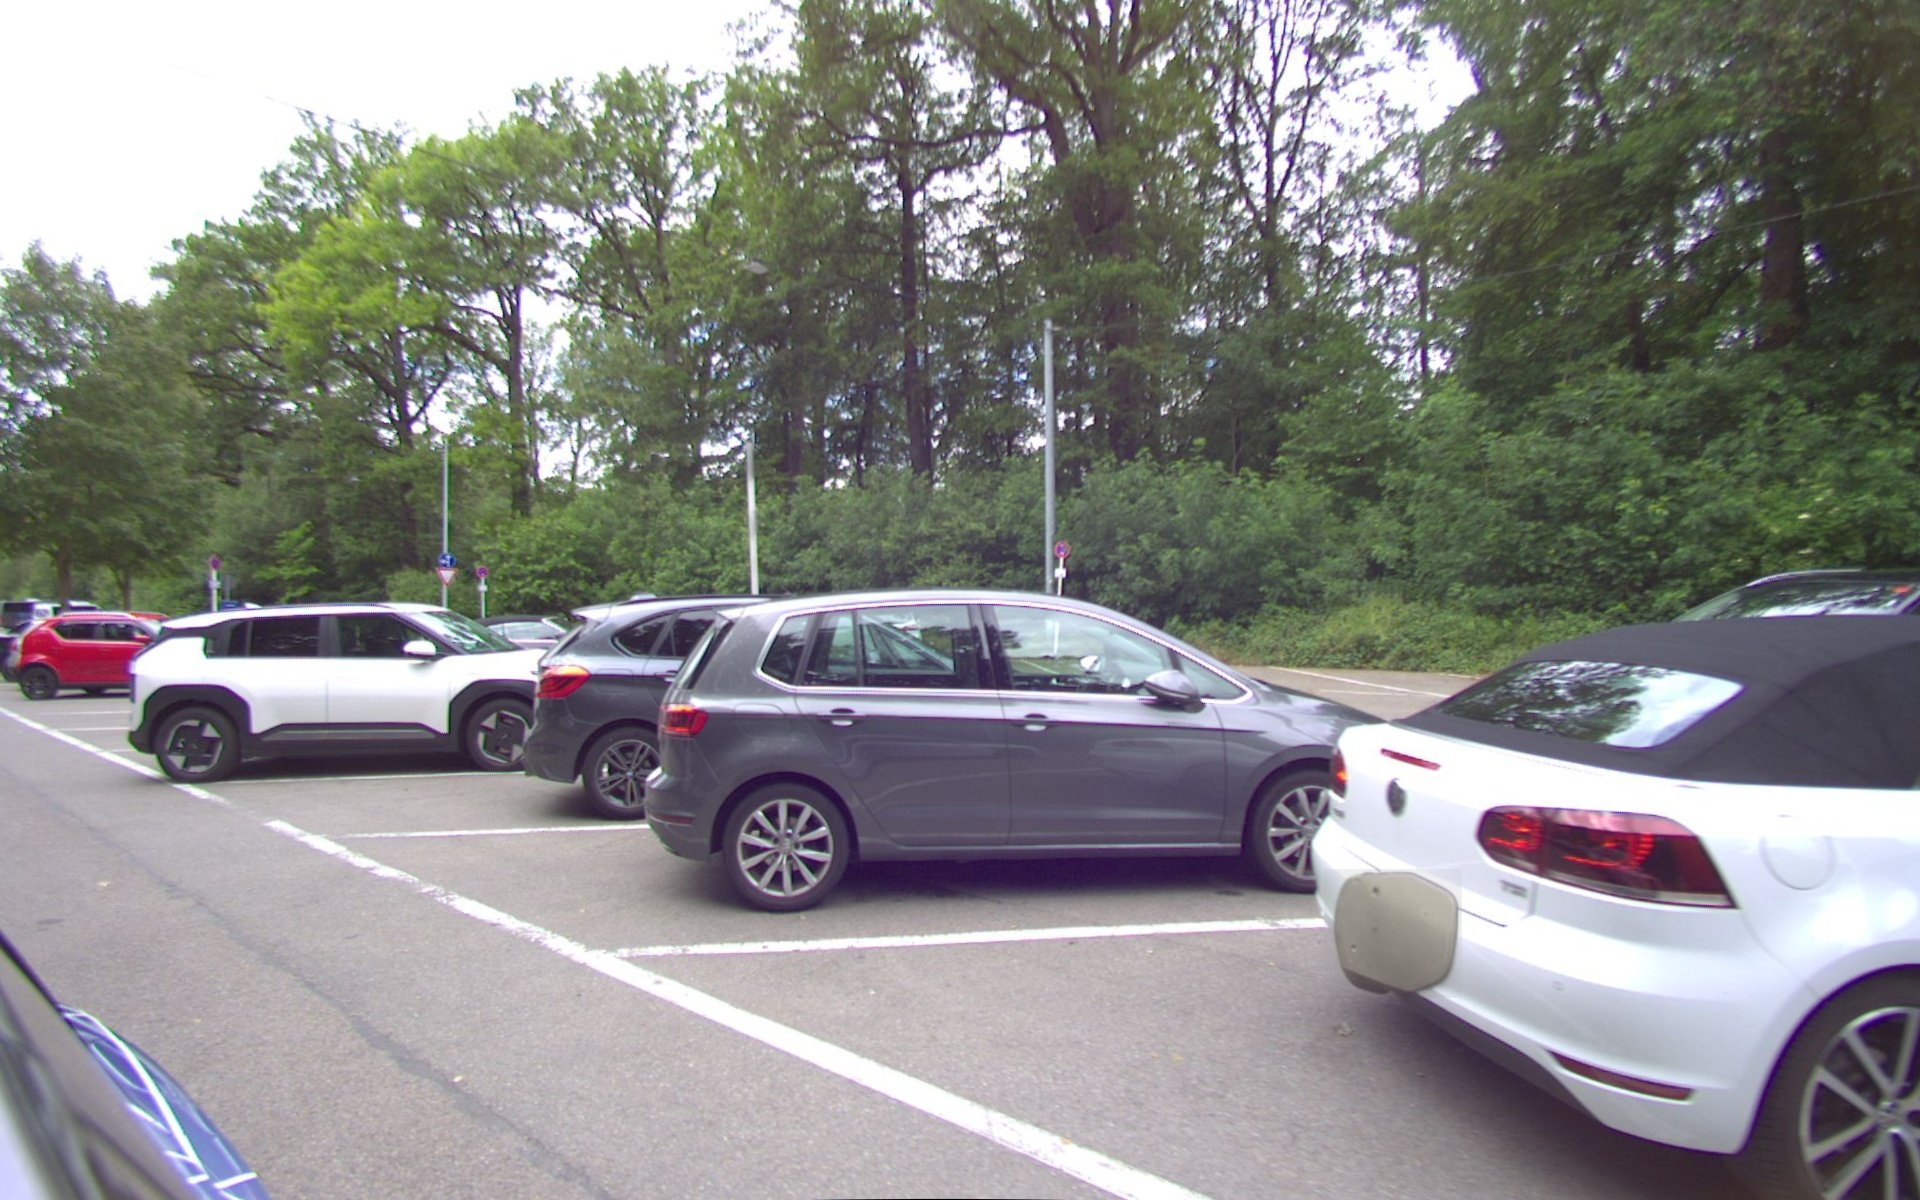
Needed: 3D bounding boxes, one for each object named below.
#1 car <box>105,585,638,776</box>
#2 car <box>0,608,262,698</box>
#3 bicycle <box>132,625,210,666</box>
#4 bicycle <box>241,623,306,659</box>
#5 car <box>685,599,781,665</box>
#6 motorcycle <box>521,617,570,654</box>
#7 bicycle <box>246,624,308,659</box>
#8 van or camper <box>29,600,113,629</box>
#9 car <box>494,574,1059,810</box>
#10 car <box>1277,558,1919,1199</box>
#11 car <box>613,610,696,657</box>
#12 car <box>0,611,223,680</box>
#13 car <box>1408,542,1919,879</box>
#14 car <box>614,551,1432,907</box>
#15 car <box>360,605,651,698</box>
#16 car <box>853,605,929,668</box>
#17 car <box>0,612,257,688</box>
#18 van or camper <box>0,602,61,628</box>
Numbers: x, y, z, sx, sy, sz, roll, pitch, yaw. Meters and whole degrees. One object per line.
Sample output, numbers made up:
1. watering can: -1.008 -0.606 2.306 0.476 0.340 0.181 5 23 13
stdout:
1. car: -5.456 0.708 9.902 4.125 1.609 1.849 -1 -1 -7
2. car: -15.788 0.979 19.417 3.597 1.597 1.689 -1 -1 -7
3. bicycle: -22.991 1.306 29.514 0.483 1.120 1.763 -1 -1 44
4. bicycle: -22.162 1.314 32.692 1.660 1.120 0.506 0 -1 -44
5. car: -6.600 0.905 29.961 2.080 1.780 4.713 -1 -1 -4
6. motorcycle: -14.370 1.225 35.122 0.722 1.217 2.026 -1 0 6
7. bicycle: -22.603 1.366 33.516 1.671 1.120 0.483 0 -1 -42
8. van or camper: -89.769 1.448 102.376 2.040 2.871 7.338 -1 0 0
9. car: -1.391 0.627 8.110 3.934 1.566 1.877 -1 -1 -11
10. car: 3.154 0.633 3.011 3.788 1.454 1.774 -1 -1 -4
11. car: -9.748 1.037 32.608 1.714 1.386 4.003 -1 0 -4
12. car: -20.328 1.061 24.216 4.041 1.534 1.831 -1 0 -2
13. car: 5.167 0.542 6.228 3.938 1.676 1.901 -1 -1 -6
14. car: 0.272 0.606 5.770 3.917 1.599 1.849 -1 -1 -5
15. car: -7.729 0.849 17.580 4.248 1.453 1.872 -1 -1 -7
16. car: -1.837 0.921 26.803 1.842 1.522 4.003 -1 -1 -4
17. car: -17.755 1.039 21.748 3.937 1.495 1.880 -1 0 -7
18. van or camper: -108.290 1.735 116.770 2.177 2.871 7.328 -1 0 5
